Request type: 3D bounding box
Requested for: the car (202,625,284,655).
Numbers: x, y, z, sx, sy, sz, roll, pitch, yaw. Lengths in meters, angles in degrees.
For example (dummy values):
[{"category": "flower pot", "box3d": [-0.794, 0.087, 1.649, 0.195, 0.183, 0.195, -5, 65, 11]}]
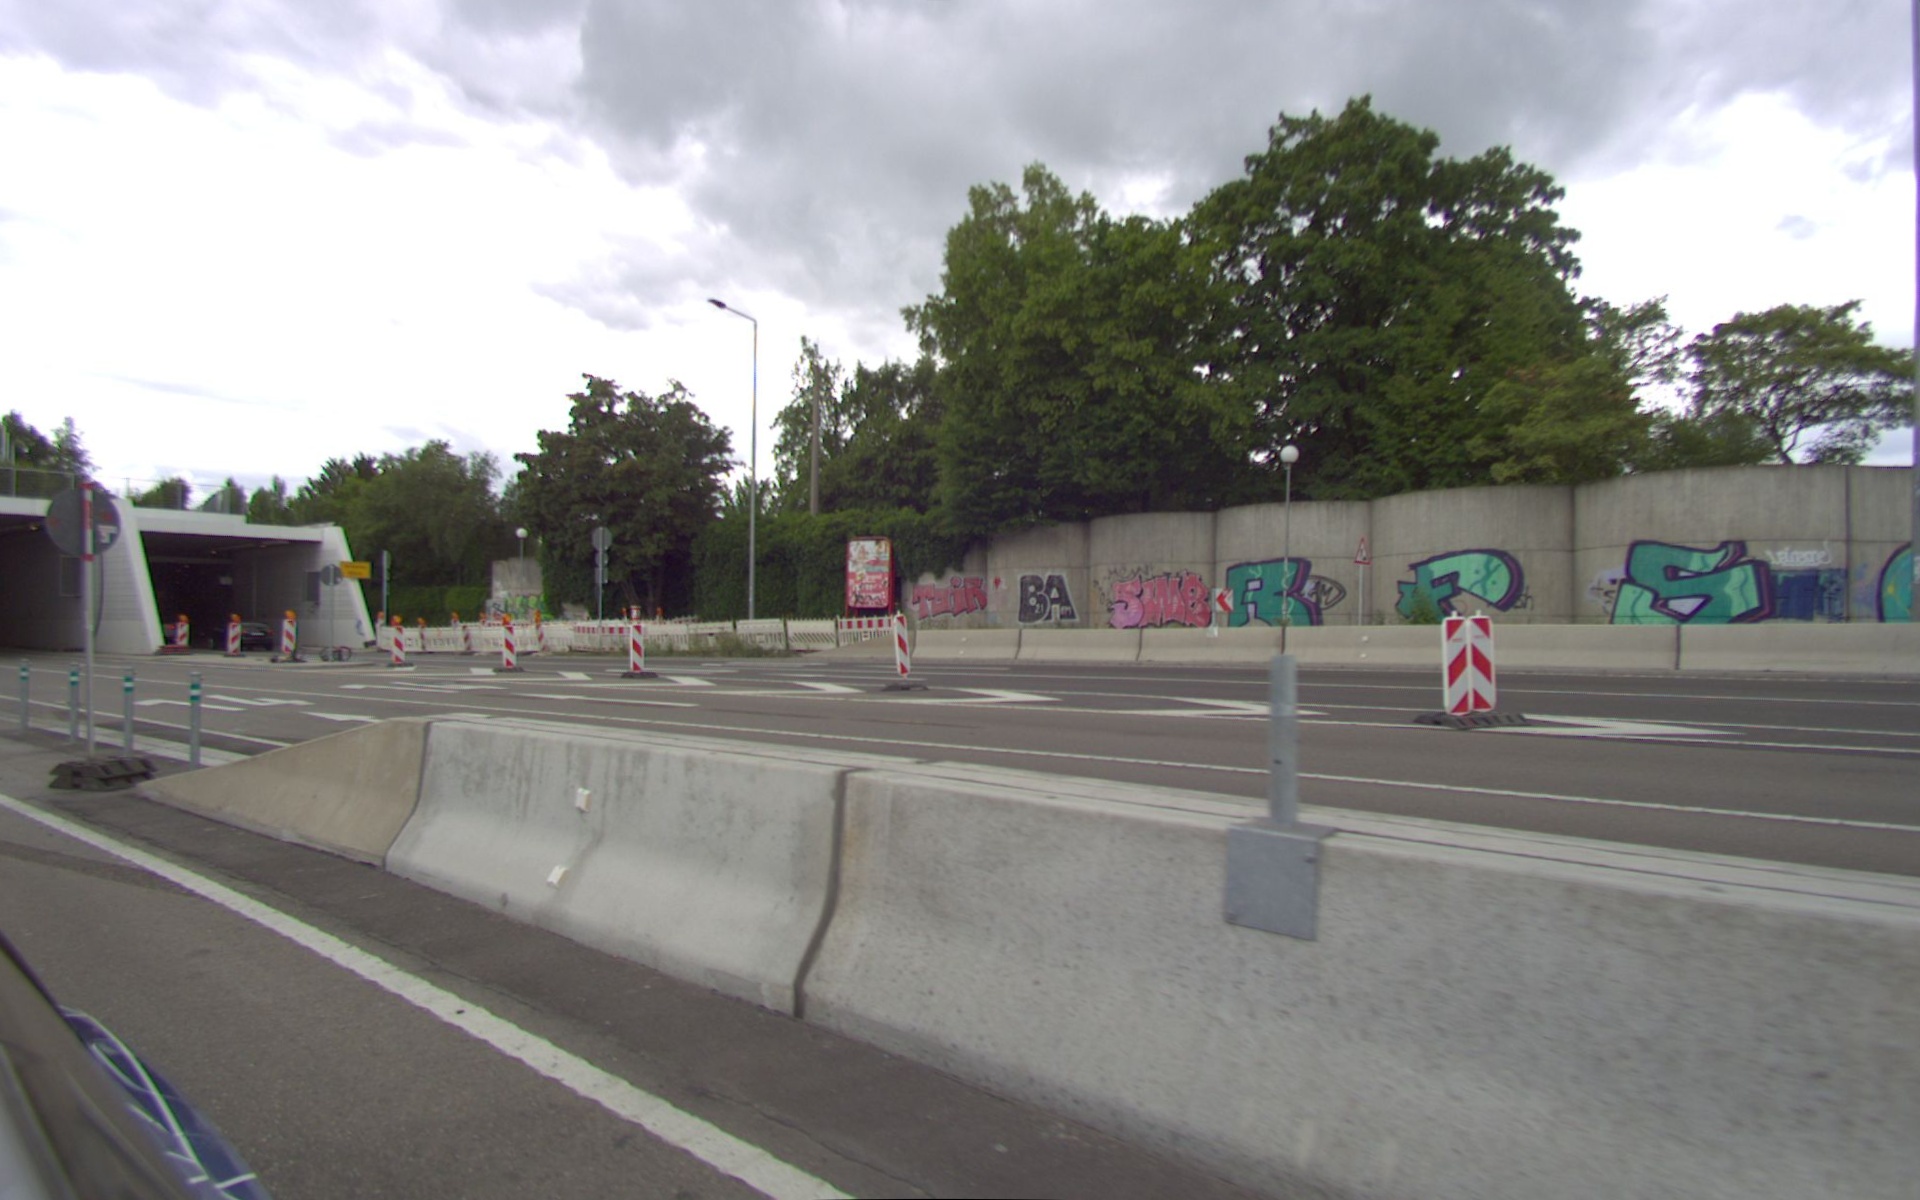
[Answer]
[{"category": "car", "box3d": [-34.139, 1.862, 48.160, 4.184, 1.360, 1.848, -1, -1, 34]}]
